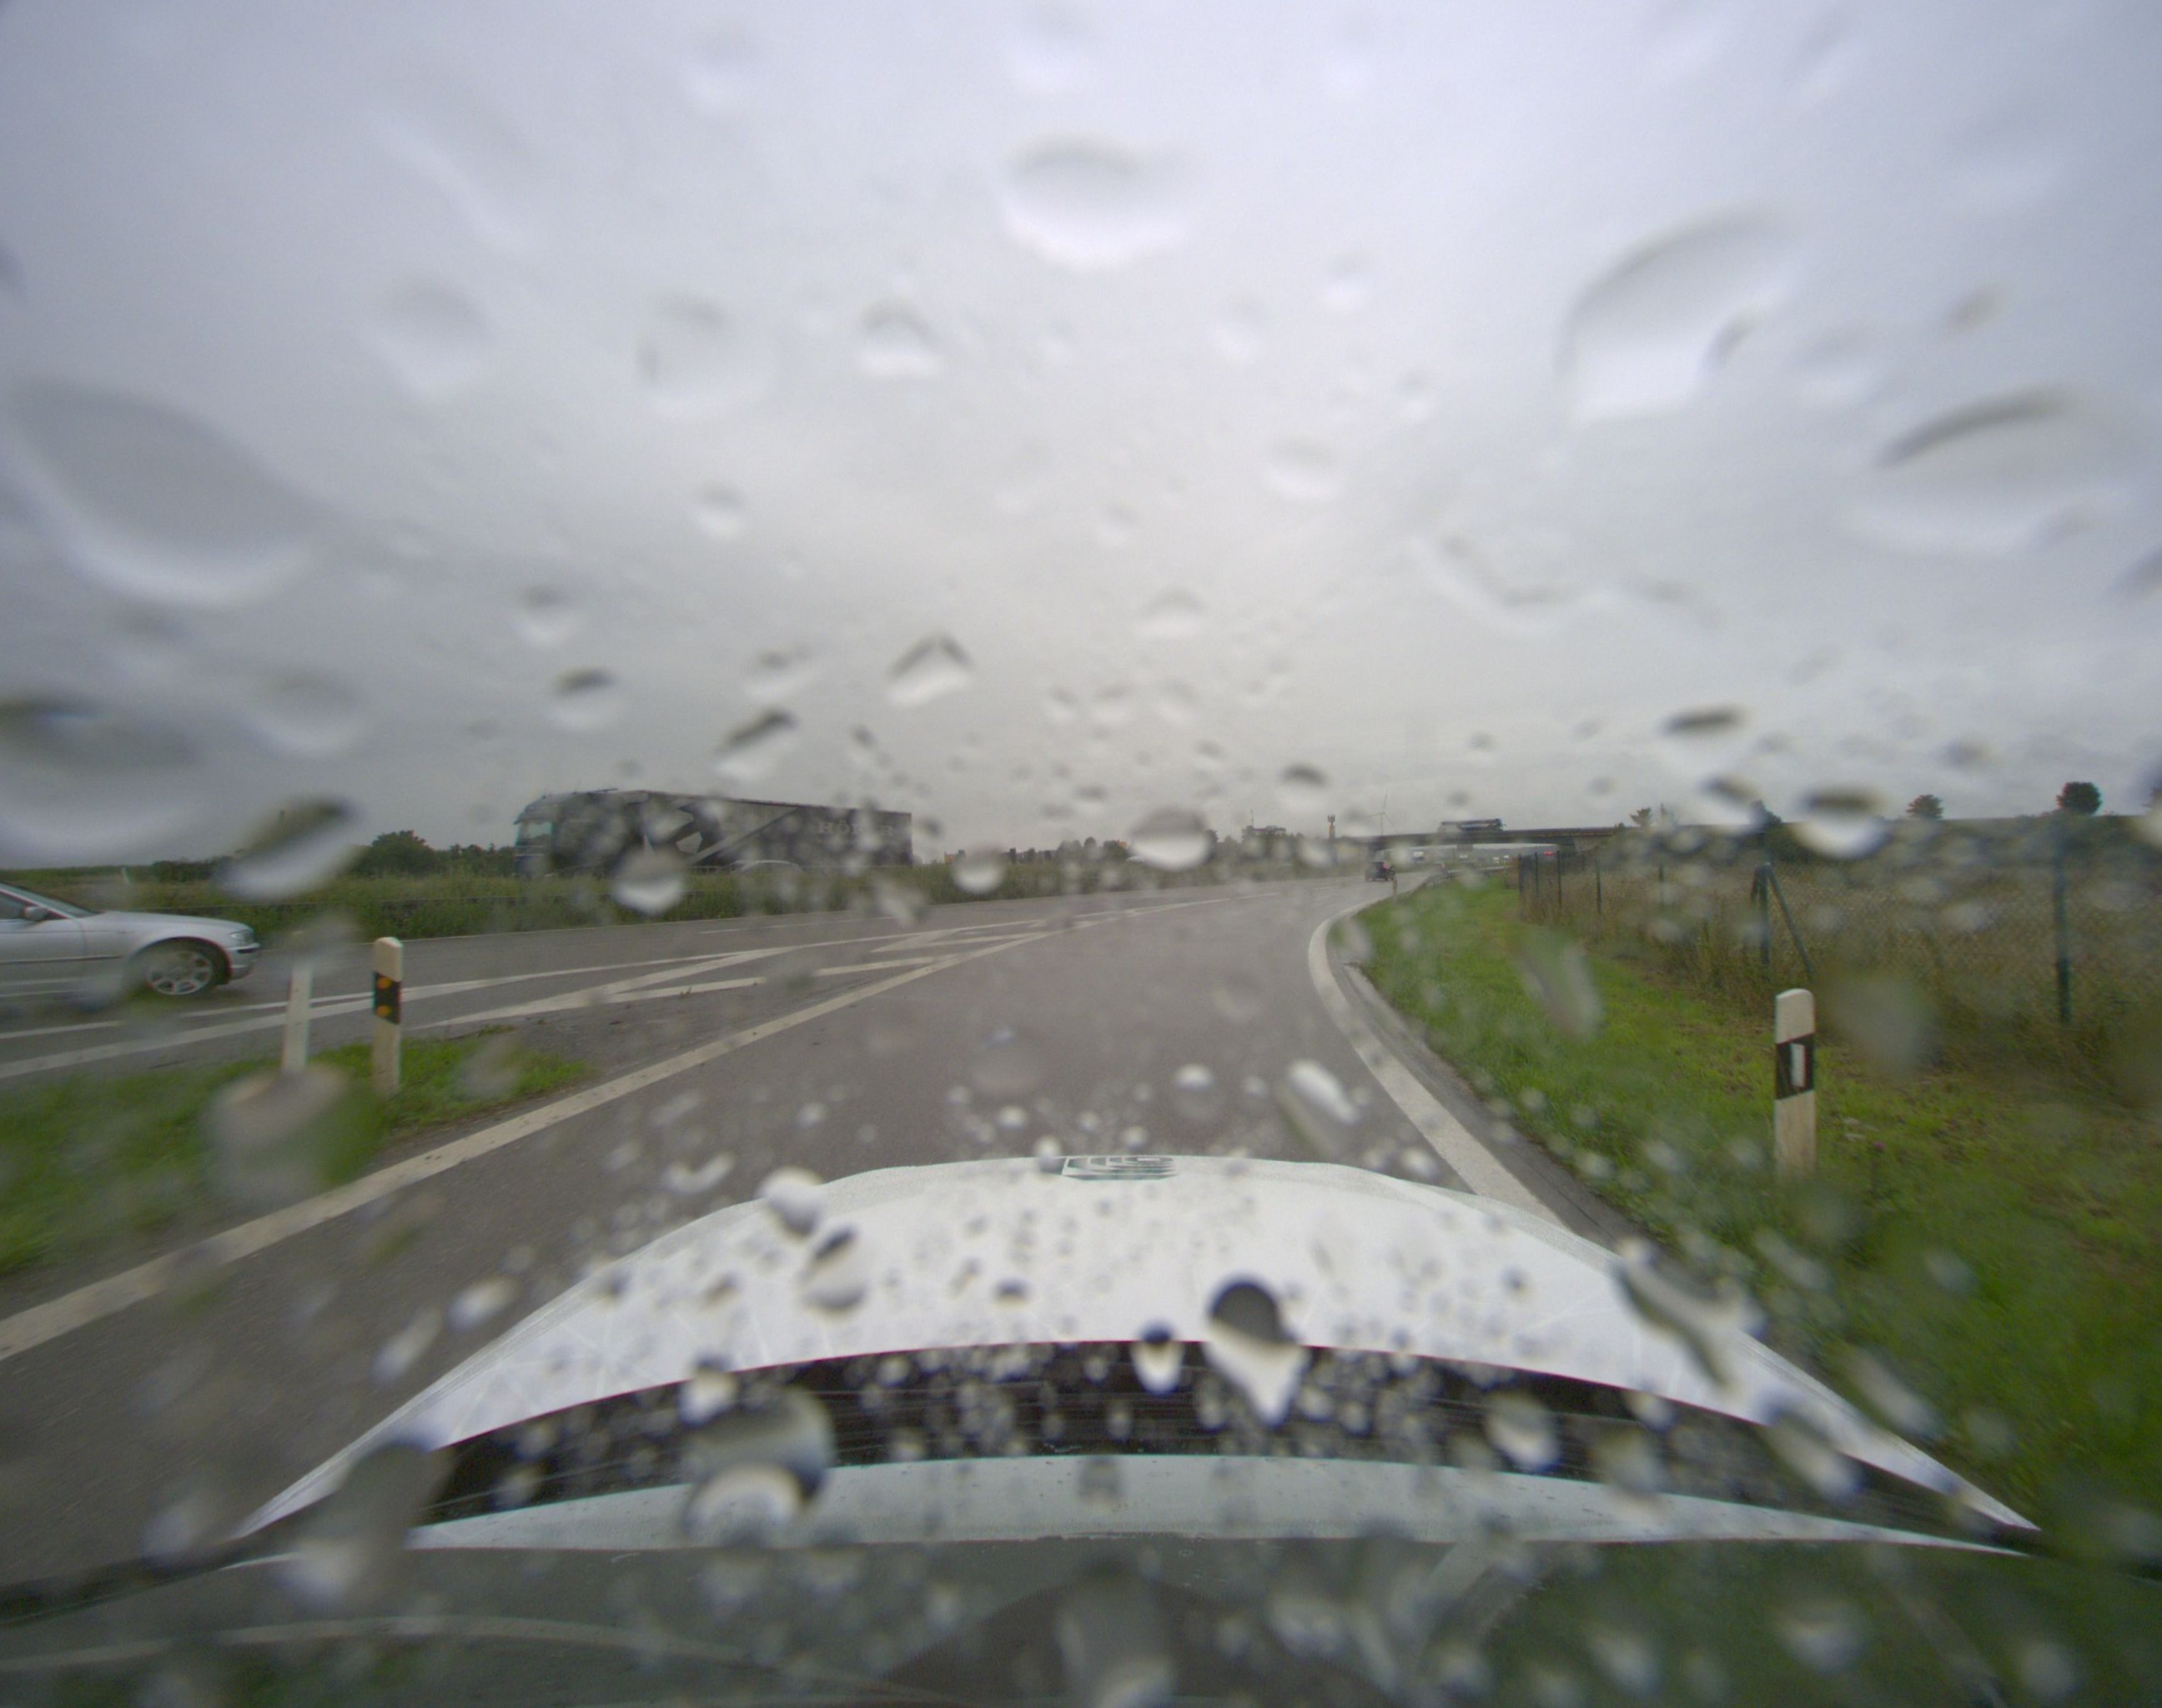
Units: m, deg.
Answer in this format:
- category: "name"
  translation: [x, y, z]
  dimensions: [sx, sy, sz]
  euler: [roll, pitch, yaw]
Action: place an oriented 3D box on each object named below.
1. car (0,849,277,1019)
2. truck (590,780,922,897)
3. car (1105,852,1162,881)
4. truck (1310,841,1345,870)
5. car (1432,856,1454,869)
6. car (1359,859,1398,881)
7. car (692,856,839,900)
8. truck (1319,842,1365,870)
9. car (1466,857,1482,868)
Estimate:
- category: "car"
  translation: [-10.585, 0.710, 7.044]
  dimensions: [1.856, 1.488, 4.825]
  euler: [-1, -1, 29]
- category: "truck"
  translation: [-12.706, -0.521, 34.483]
  dimensions: [3.164, 3.966, 13.899]
  euler: [2, 0, 31]
- category: "car"
  translation: [3.669, 0.853, 56.249]
  dimensions: [2.085, 1.875, 4.559]
  euler: [1, 0, 30]
- category: "truck"
  translation: [35.128, 0.240, 115.718]
  dimensions: [3.164, 3.966, 6.704]
  euler: [2, 0, 31]
- category: "car"
  translation: [45.769, 1.090, 102.996]
  dimensions: [2.033, 1.636, 4.376]
  euler: [0, -1, 30]
- category: "car"
  translation: [23.912, 1.289, 65.387]
  dimensions: [2.125, 1.636, 4.623]
  euler: [0, -1, 30]
- category: "car"
  translation: [-11.165, 0.806, 29.139]
  dimensions: [2.085, 1.434, 4.559]
  euler: [1, 0, 30]
- category: "truck"
  translation: [39.685, 0.328, 123.434]
  dimensions: [3.164, 3.966, 15.413]
  euler: [2, 0, 31]
- category: "car"
  translation: [65.365, 1.423, 135.569]
  dimensions: [1.974, 1.697, 4.025]
  euler: [-3, 0, 30]
